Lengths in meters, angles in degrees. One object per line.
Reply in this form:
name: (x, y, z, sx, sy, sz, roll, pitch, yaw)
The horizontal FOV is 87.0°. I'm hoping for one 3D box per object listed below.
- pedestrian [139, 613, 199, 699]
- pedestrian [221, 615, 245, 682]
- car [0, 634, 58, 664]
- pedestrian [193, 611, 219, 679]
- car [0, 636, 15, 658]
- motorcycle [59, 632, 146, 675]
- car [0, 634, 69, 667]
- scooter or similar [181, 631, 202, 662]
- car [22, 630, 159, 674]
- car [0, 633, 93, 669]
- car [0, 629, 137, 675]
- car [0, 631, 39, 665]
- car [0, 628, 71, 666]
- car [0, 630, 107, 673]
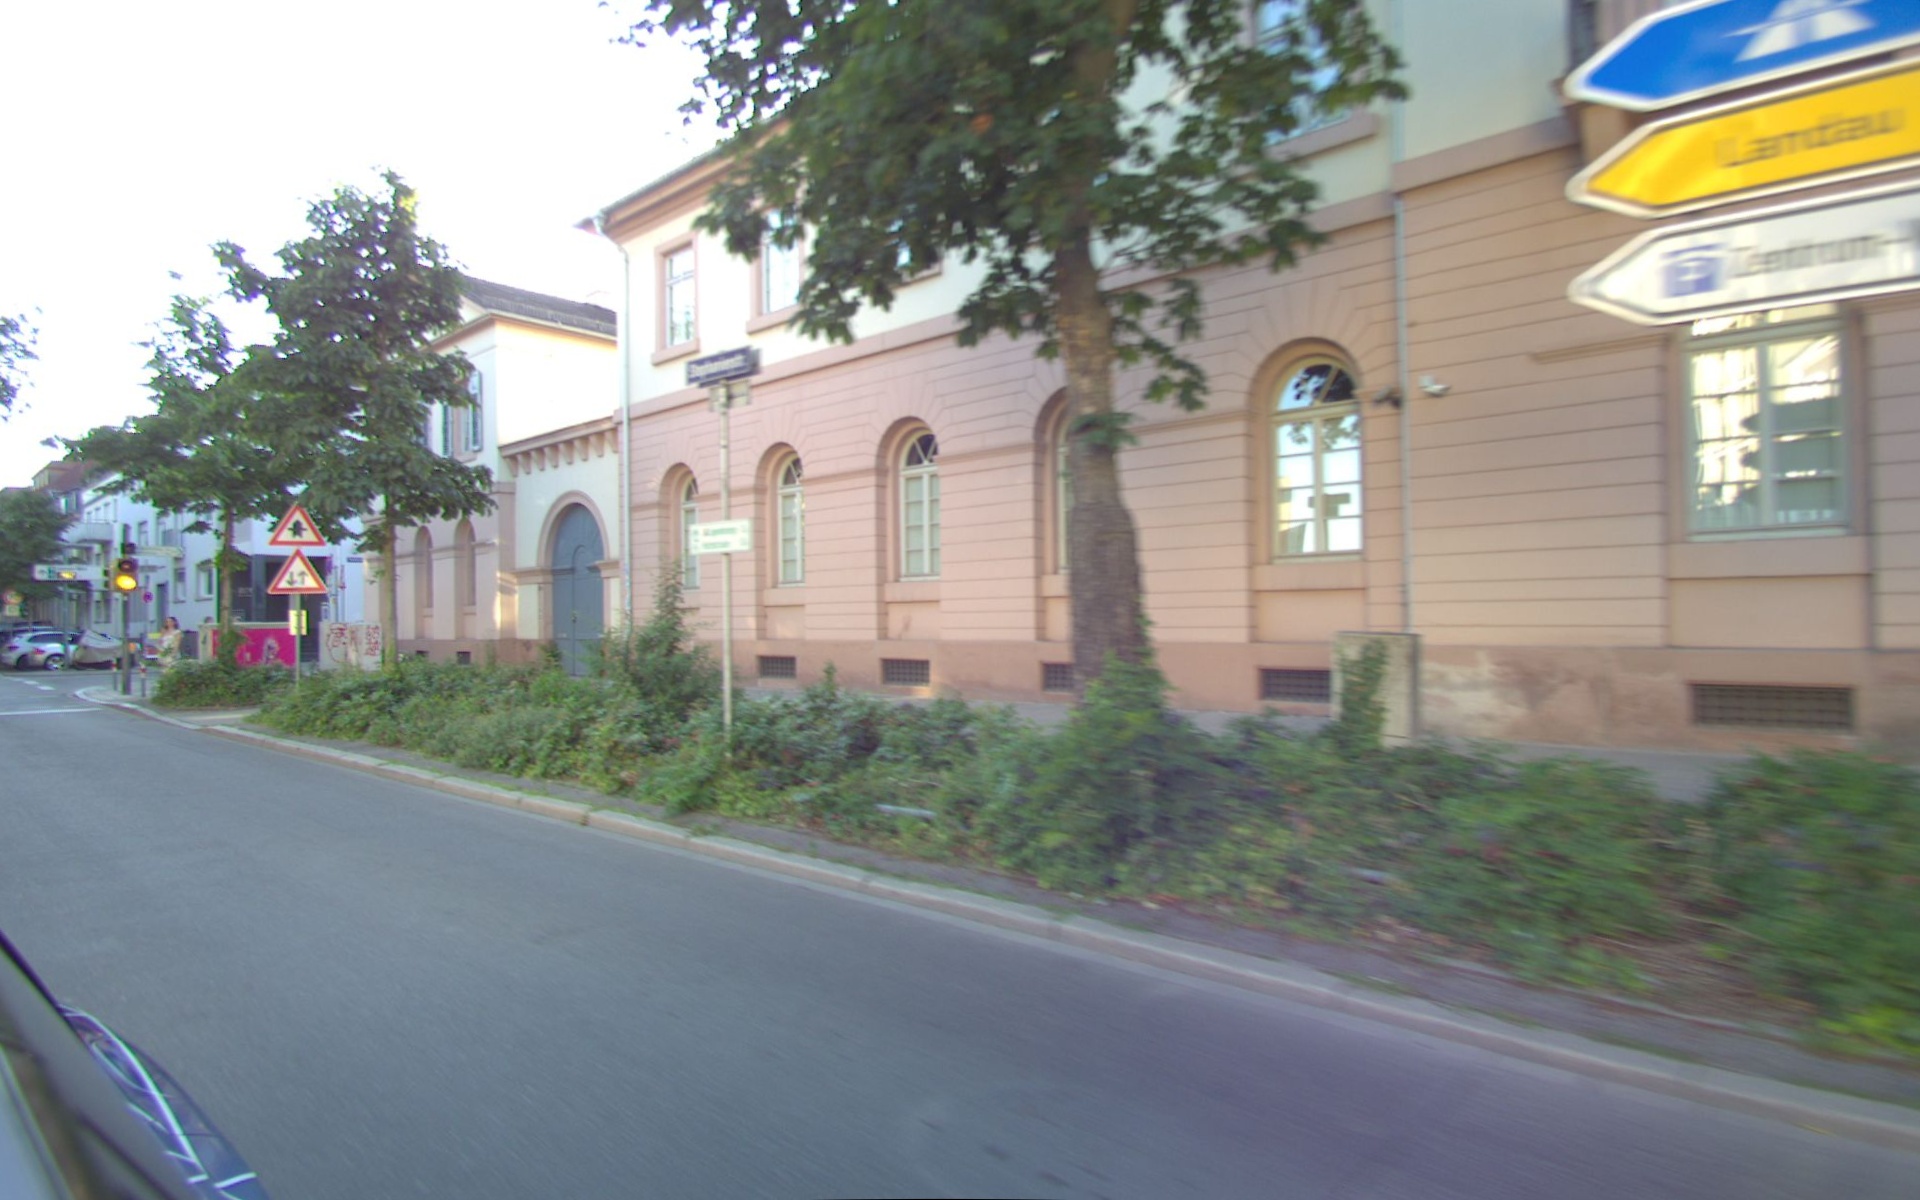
pedestrian: (-17.514, 1.220, 22.436, 0.779, 1.804, 0.773, -4, 0, -21)
pedestrian: (-20.707, 1.372, 28.826, 0.546, 1.864, 0.613, 0, -1, -35)
car: (-50.846, 2.653, 54.045, 1.854, 1.462, 3.805, -4, -1, 41)
pedestrian: (-21.197, 1.256, 28.466, 0.546, 1.864, 0.613, 0, -2, -34)
car: (-67.694, 3.303, 69.089, 1.716, 1.417, 4.383, -1, 1, 38)
motorcycle: (-29.798, 1.842, 35.208, 2.118, 1.430, 0.971, 0, -2, -27)
car: (-47.231, 2.540, 50.519, 1.781, 1.505, 3.983, -2, 0, 45)
scooter or similar: (-32.488, 1.969, 42.775, 0.509, 1.271, 1.421, -1, 0, -44)
car: (-31.874, 1.878, 37.146, 3.697, 1.321, 1.845, -3, 0, -45)
car: (-42.890, 2.368, 46.804, 1.755, 1.451, 4.031, -2, 0, 42)
car: (-34.070, 1.960, 38.743, 1.734, 1.469, 3.703, -2, 0, 40)
car: (-58.951, 2.932, 60.928, 2.187, 2.006, 4.941, -3, -2, 39)
car: (-49.037, 2.443, 52.118, 2.155, 1.778, 4.618, -2, -1, 41)
car: (-39.013, 2.159, 42.966, 1.935, 1.644, 4.049, -2, -1, 42)
